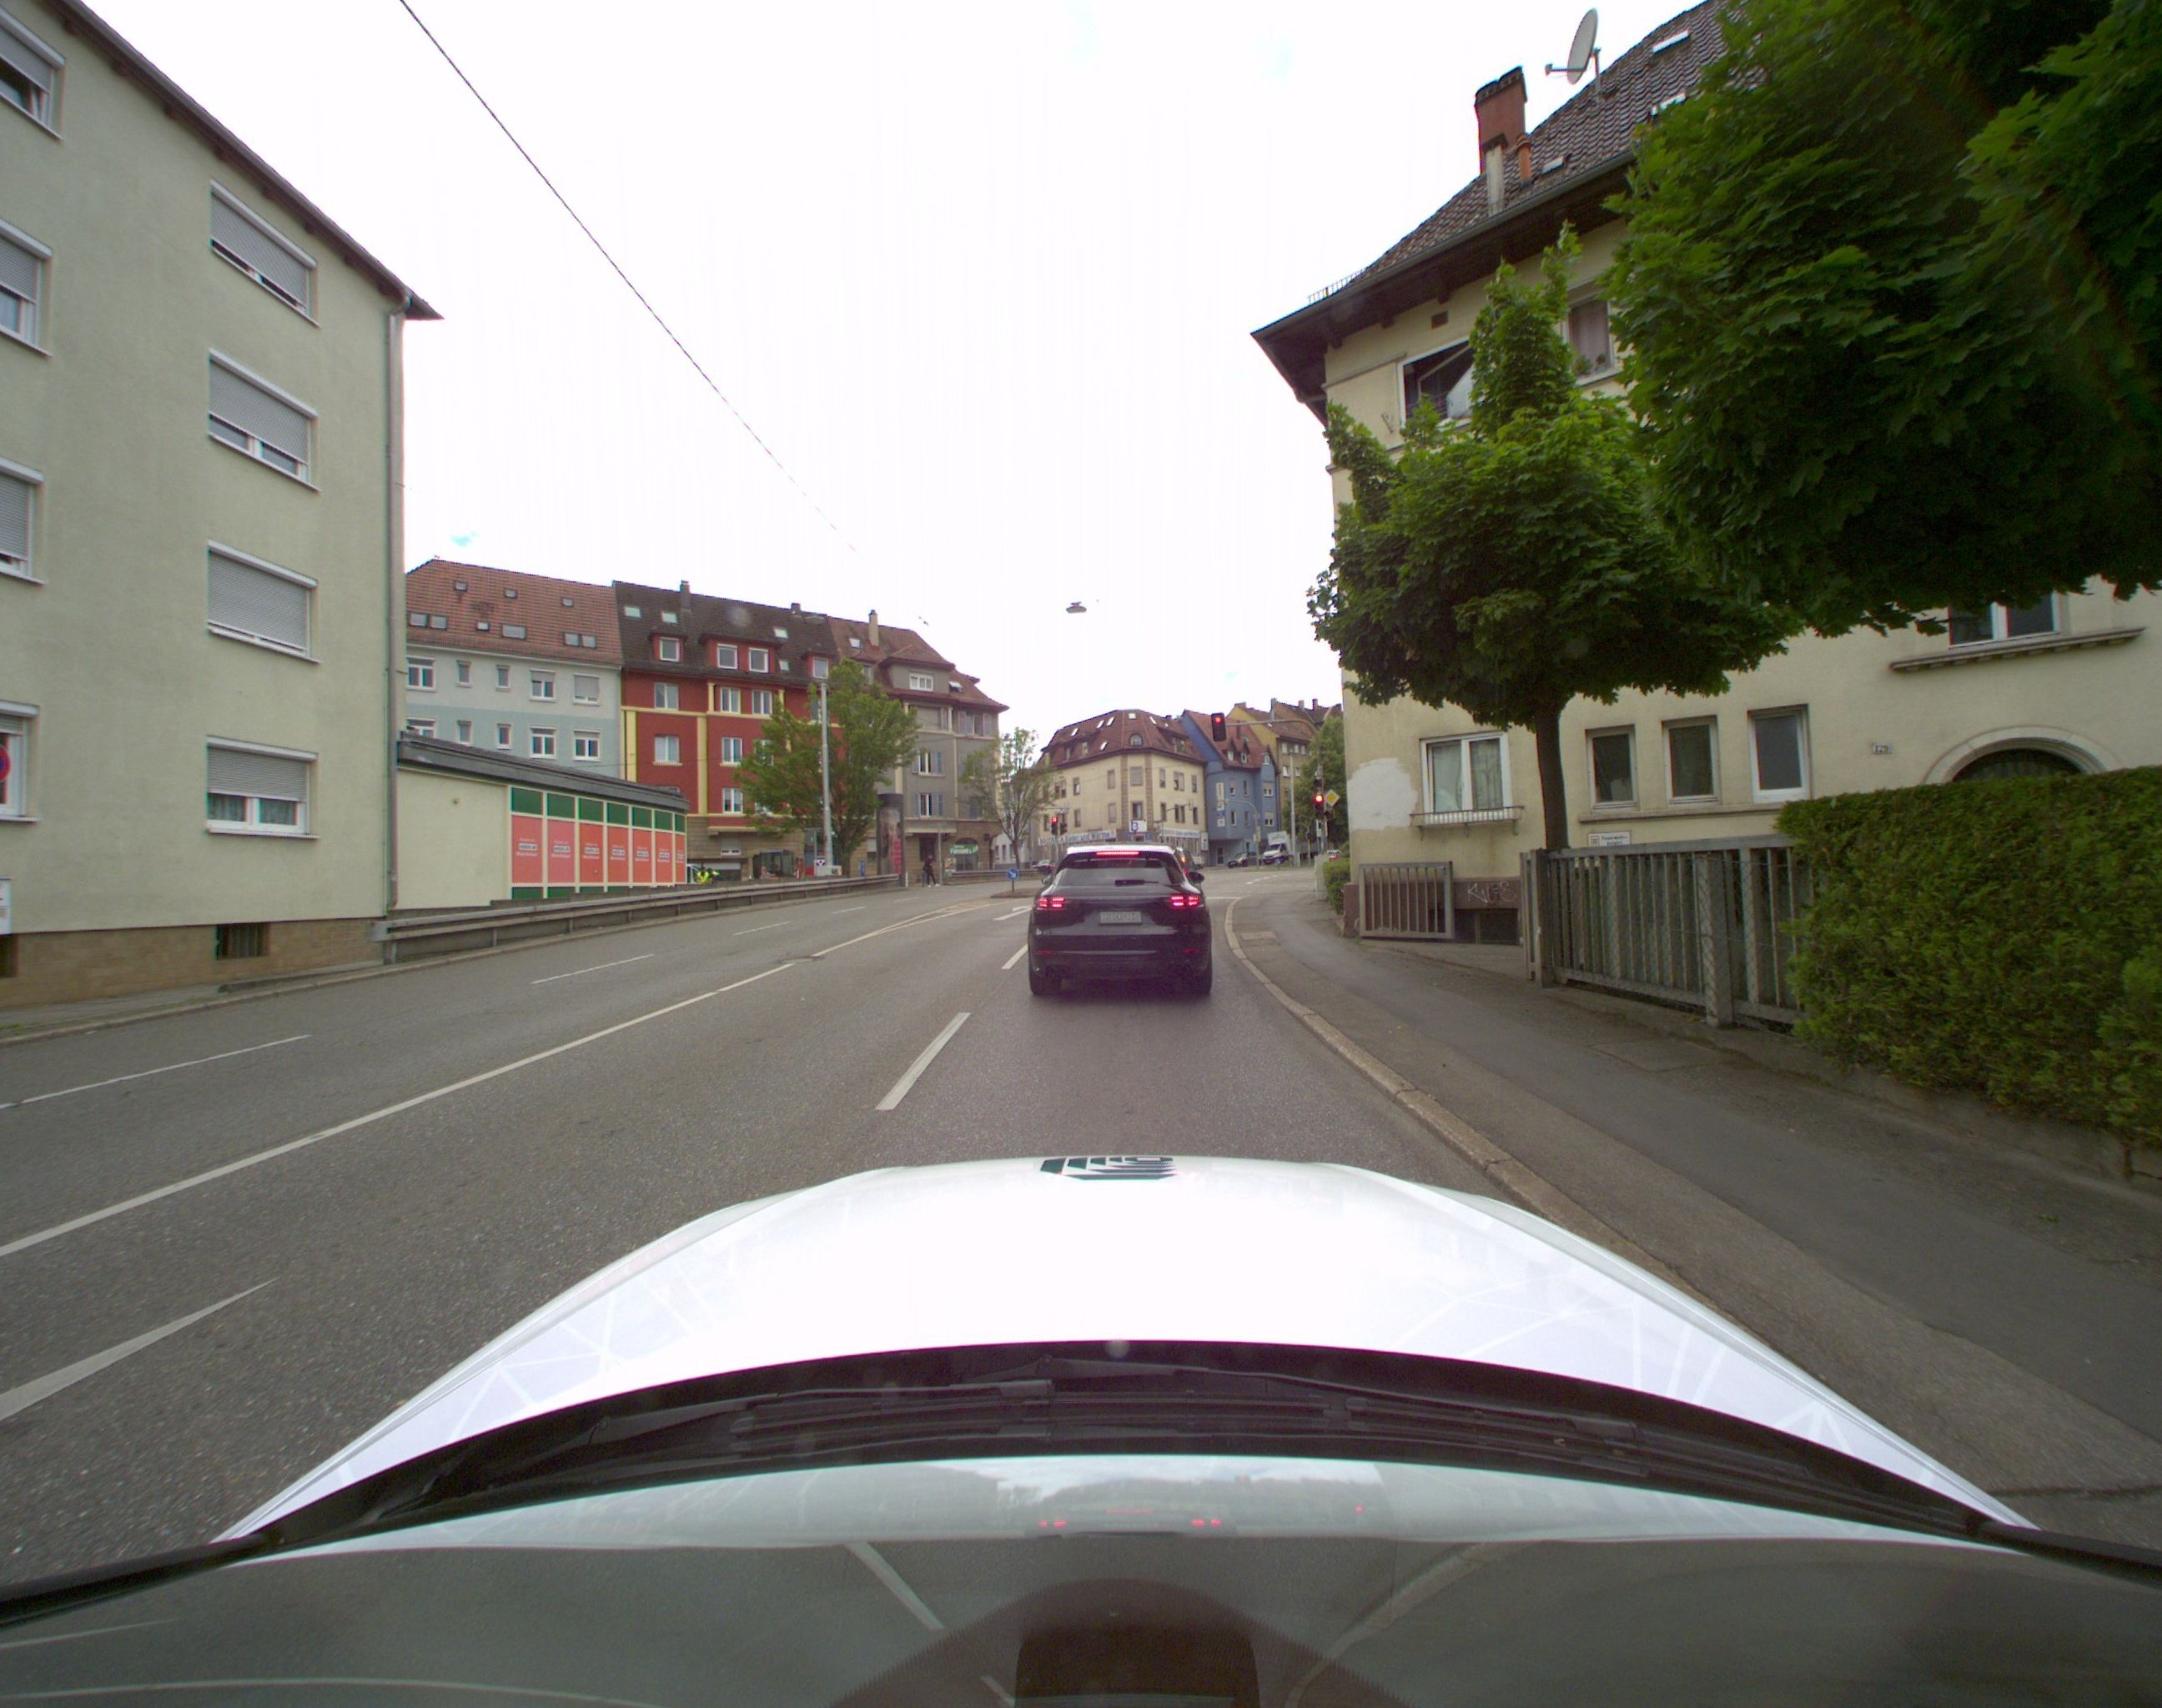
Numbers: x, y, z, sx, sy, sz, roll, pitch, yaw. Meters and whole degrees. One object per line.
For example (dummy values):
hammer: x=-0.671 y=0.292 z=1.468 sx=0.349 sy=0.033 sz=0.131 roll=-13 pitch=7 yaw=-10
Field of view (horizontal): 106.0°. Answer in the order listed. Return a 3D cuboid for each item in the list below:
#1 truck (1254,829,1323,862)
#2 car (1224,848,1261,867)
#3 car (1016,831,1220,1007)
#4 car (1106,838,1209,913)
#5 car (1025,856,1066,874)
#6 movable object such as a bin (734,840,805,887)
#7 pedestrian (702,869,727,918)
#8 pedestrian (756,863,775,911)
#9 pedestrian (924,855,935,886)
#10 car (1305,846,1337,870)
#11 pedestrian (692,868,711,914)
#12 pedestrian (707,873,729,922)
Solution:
truck: x=21.783 y=-0.844 z=85.234 sx=8.845 sy=3.340 sz=2.847 roll=0 pitch=0 yaw=-45
car: x=15.482 y=0.318 z=77.918 sx=1.974 sy=1.684 sz=4.026 roll=-2 pitch=-1 yaw=34
car: x=0.390 y=0.621 z=10.058 sx=1.972 sy=1.684 sz=4.000 roll=-2 pitch=0 yaw=0
car: x=2.038 y=0.499 z=20.636 sx=1.979 sy=1.684 sz=4.015 roll=-2 pitch=0 yaw=14
car: x=-3.287 y=1.021 z=75.111 sx=2.008 sy=1.684 sz=3.957 roll=0 pitch=-1 yaw=-34
movable object such as a bin: x=-12.526 y=0.383 z=33.000 sx=1.902 sy=1.771 sz=3.986 roll=0 pitch=0 yaw=-10
pedestrian: x=-13.487 y=1.449 z=30.000 sx=0.565 sy=1.761 sz=0.622 roll=0 pitch=-1 yaw=38
pedestrian: x=-11.668 y=1.214 z=30.092 sx=0.545 sy=1.730 sz=0.587 roll=1 pitch=-1 yaw=-31
pedestrian: x=-8.260 y=0.897 z=44.428 sx=0.511 sy=1.730 sz=0.451 roll=0 pitch=-1 yaw=5
car: x=17.805 y=0.267 z=60.492 sx=1.980 sy=1.684 sz=4.013 roll=-2 pitch=0 yaw=12
pedestrian: x=-14.287 y=1.380 z=30.662 sx=0.479 sy=1.730 sz=0.537 roll=1 pitch=-1 yaw=-43
pedestrian: x=-12.813 y=1.536 z=28.756 sx=0.562 sy=1.700 sz=0.542 roll=0 pitch=-1 yaw=-8
